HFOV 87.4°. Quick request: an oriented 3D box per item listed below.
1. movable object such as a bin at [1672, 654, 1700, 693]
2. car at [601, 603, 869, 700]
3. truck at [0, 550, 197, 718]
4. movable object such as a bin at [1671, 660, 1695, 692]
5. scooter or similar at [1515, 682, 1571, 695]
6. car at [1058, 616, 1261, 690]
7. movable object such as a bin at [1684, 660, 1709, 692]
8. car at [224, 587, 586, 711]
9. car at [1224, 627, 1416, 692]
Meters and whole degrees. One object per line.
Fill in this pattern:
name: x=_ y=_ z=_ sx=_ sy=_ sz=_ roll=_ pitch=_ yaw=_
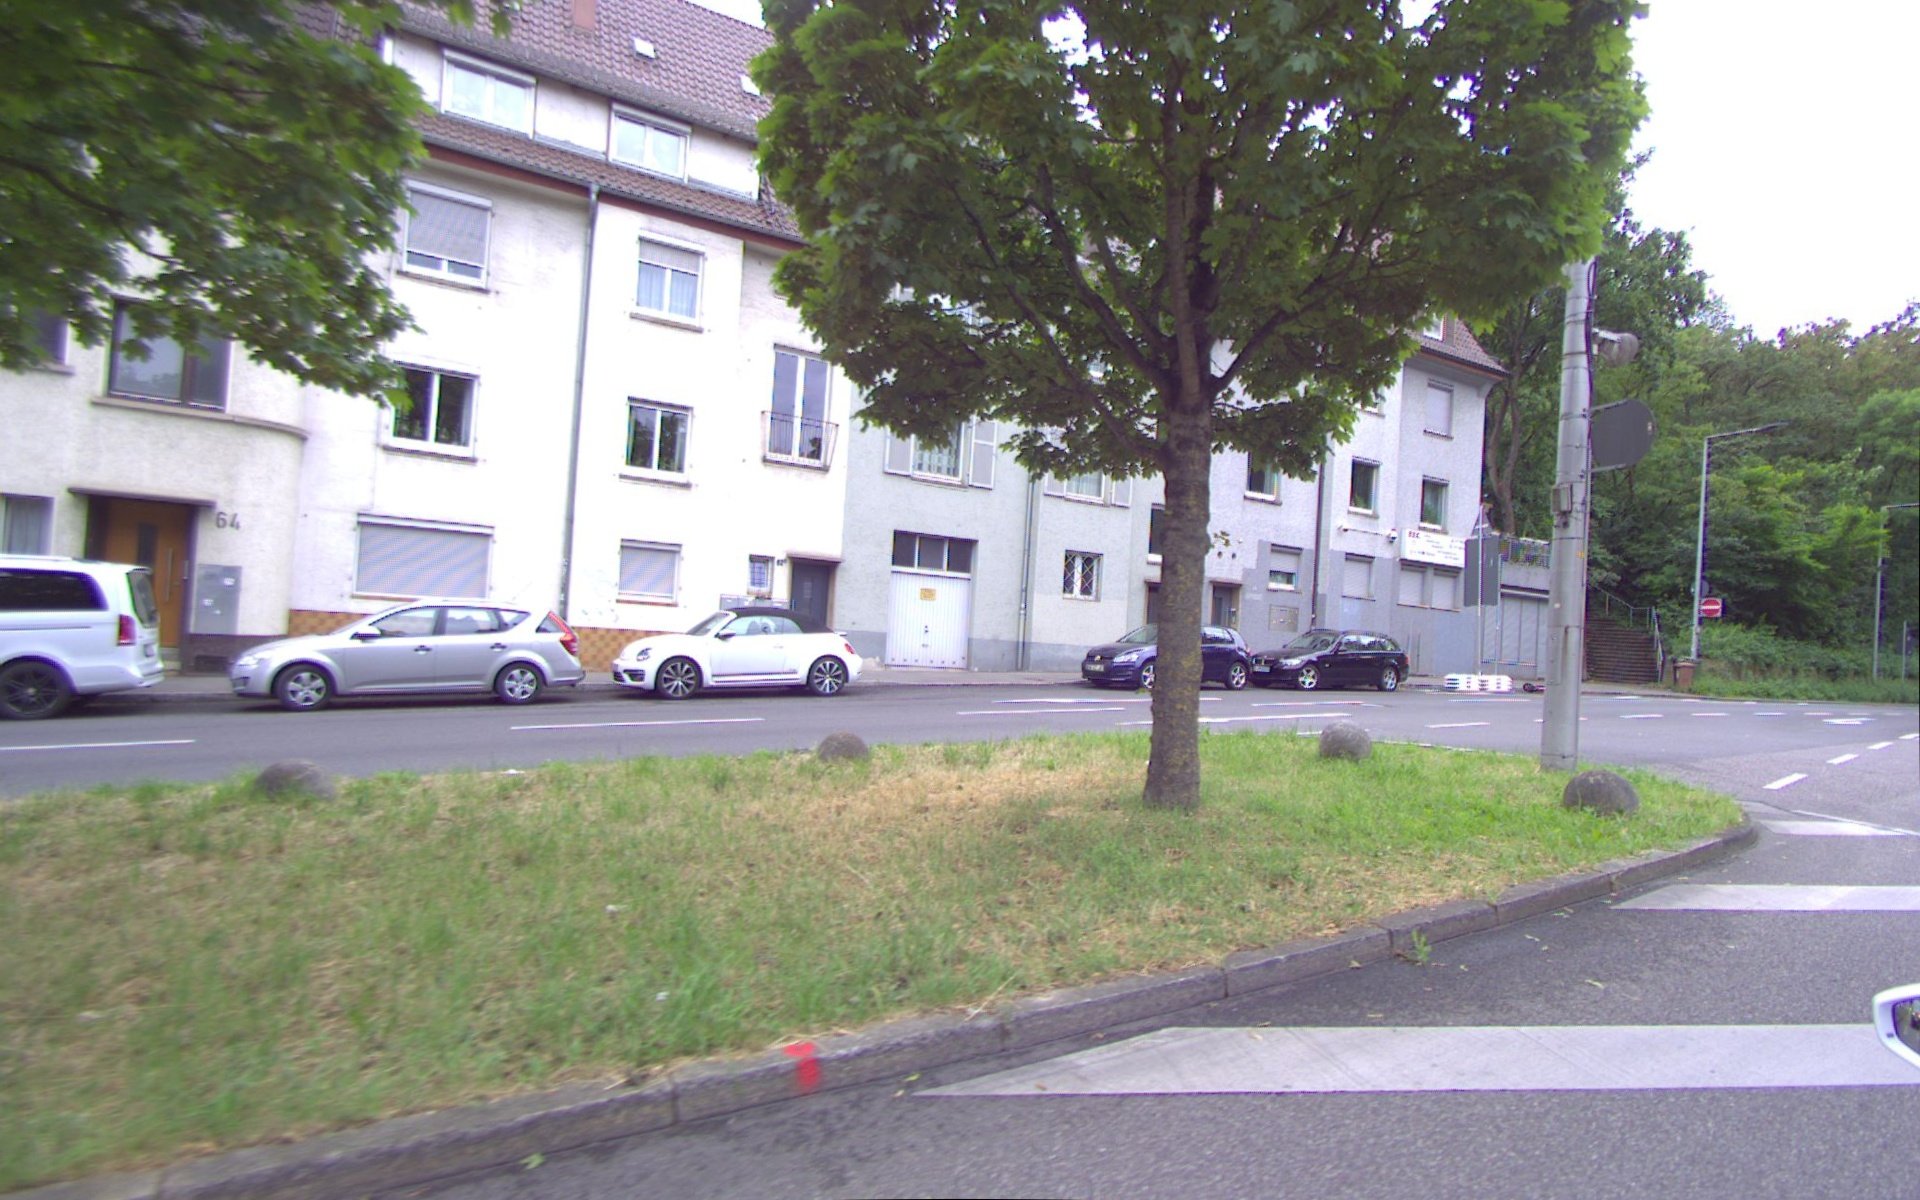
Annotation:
movable object such as a bin: x=23.726 y=2.405 z=32.817 sx=0.489 sy=1.201 sz=0.598 roll=3 pitch=2 yaw=-44
car: x=-3.838 y=0.836 z=17.244 sx=4.108 sy=1.494 sz=1.985 roll=1 pitch=-1 yaw=-29
truck: x=-12.581 y=0.372 z=11.974 sx=5.285 sy=1.945 sz=1.984 roll=1 pitch=-1 yaw=-31
movable object such as a bin: x=23.323 y=2.458 z=32.408 sx=0.442 sy=0.980 sz=0.510 roll=3 pitch=2 yaw=-44
scooter or similar: x=16.137 y=2.434 z=27.799 sx=1.092 sy=0.292 sz=1.112 roll=5 pitch=-3 yaw=-44
car: x=4.421 y=1.176 z=22.070 sx=4.167 sy=1.442 sz=1.982 roll=3 pitch=-2 yaw=-33
movable object such as a bin: x=24.899 y=2.567 z=33.973 sx=0.428 sy=1.038 sz=0.550 roll=3 pitch=2 yaw=-44
car: x=-7.925 y=0.669 z=14.676 sx=4.331 sy=1.573 sz=1.984 roll=1 pitch=-1 yaw=-31
car: x=8.792 y=1.434 z=24.468 sx=4.463 sy=1.419 sz=1.985 roll=2 pitch=-1 yaw=-29
